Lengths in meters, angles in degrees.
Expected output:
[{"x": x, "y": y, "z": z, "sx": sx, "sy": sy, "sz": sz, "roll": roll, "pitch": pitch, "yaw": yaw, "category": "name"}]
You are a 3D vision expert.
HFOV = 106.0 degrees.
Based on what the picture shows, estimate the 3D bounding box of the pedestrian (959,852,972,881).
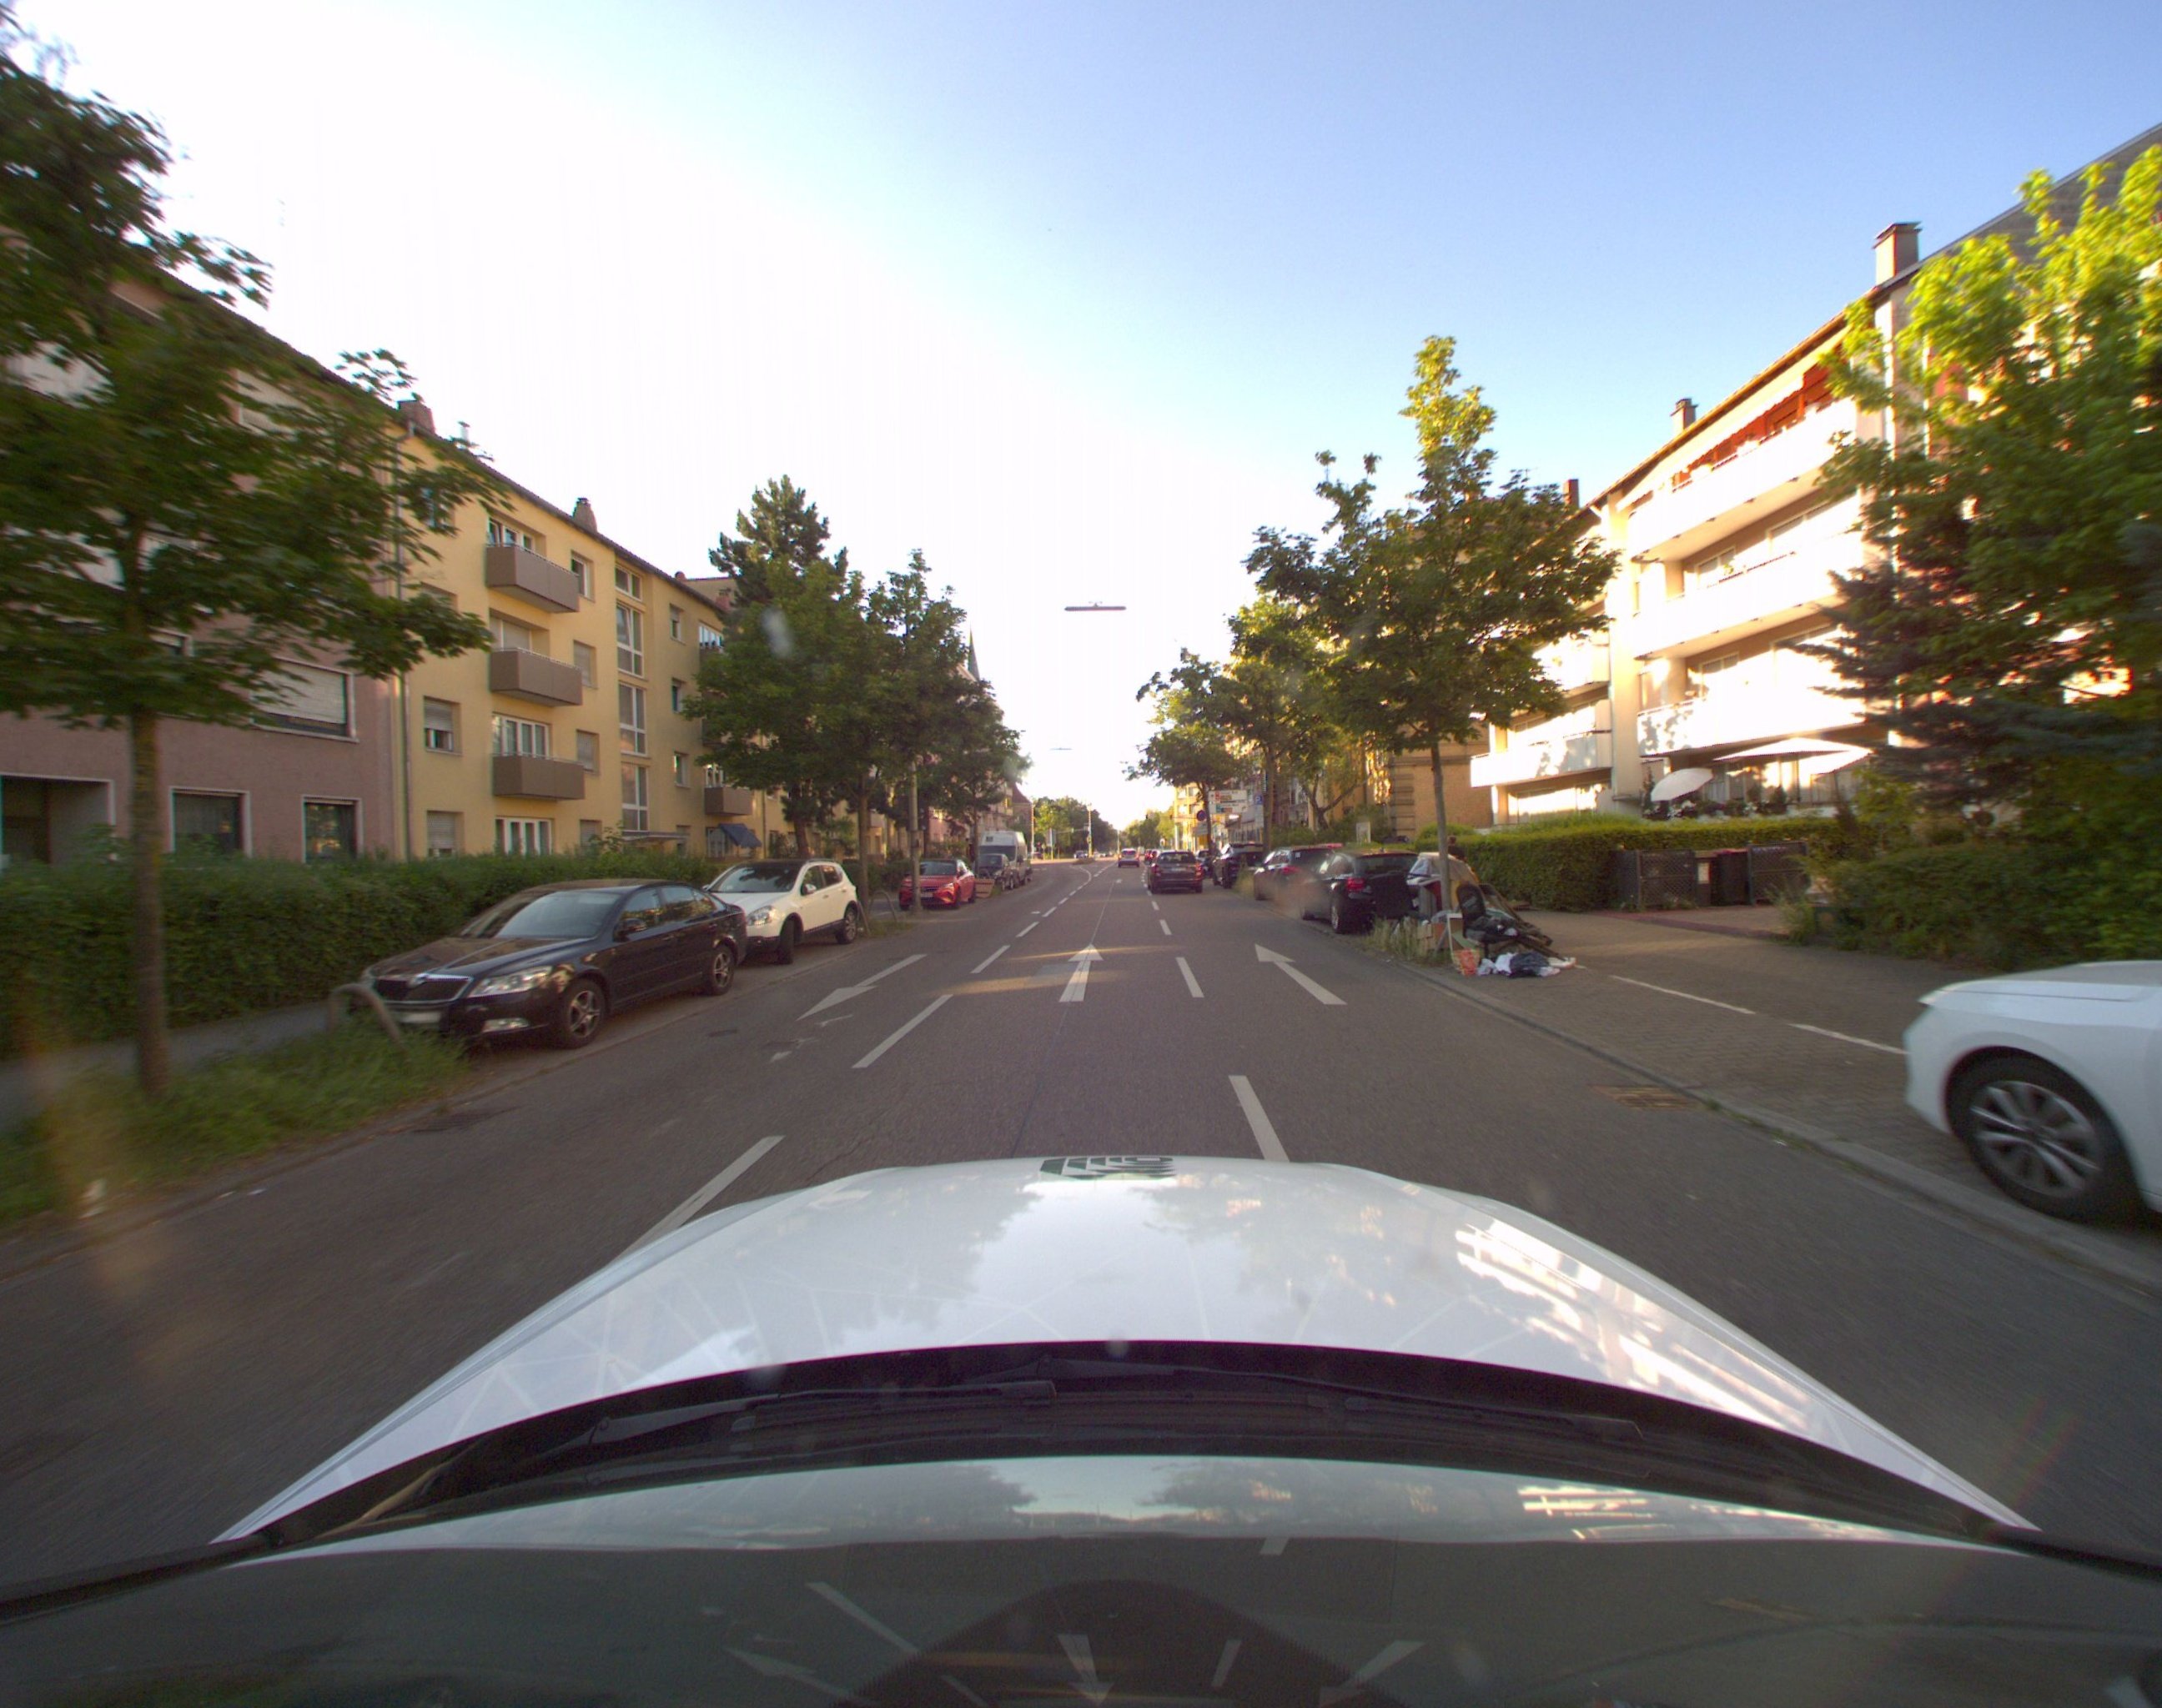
[{"x": -6.815, "y": 0.731, "z": 48.172, "sx": 0.603, "sy": 1.652, "sz": 0.696, "roll": -2, "pitch": 0, "yaw": -3, "category": "pedestrian"}]

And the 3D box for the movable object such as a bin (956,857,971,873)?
[{"x": -7.577, "y": 0.696, "z": 52.494, "sx": 0.864, "sy": 1.050, "sz": 0.770, "roll": 1, "pitch": 0, "yaw": 1, "category": "movable object such as a bin"}]

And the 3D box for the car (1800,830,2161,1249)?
[{"x": 4.561, "y": 0.635, "z": 2.075, "sx": 1.754, "sy": 1.402, "sz": 4.337, "roll": -3, "pitch": 0, "yaw": 3, "category": "car"}]

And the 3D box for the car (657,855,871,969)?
[{"x": -5.156, "y": 0.848, "z": 13.933, "sx": 1.769, "sy": 1.588, "sz": 4.189, "roll": -1, "pitch": 0, "yaw": 3, "category": "car"}]

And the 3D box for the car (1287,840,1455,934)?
[{"x": 5.305, "y": 0.525, "z": 15.565, "sx": 1.763, "sy": 1.448, "sz": 4.488, "roll": -3, "pitch": 0, "yaw": 3, "category": "car"}]

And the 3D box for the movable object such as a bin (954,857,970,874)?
[{"x": -7.562, "y": 0.715, "z": 51.621, "sx": 0.864, "sy": 1.050, "sz": 0.770, "roll": 1, "pitch": 0, "yaw": 1, "category": "movable object such as a bin"}]

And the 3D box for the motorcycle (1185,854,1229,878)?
[{"x": 6.117, "y": 0.565, "z": 39.504, "sx": 1.925, "sy": 1.071, "sz": 0.818, "roll": -2, "pitch": 0, "yaw": -9, "category": "motorcycle"}]

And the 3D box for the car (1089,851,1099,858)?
[{"x": 2.666, "y": 0.133, "z": 168.573, "sx": 1.772, "sy": 1.236, "sz": 4.005, "roll": -2, "pitch": 0, "yaw": 4, "category": "car"}]

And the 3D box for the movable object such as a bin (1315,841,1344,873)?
[{"x": 11.559, "y": 0.121, "z": 37.897, "sx": 1.243, "sy": 1.441, "sz": 0.999, "roll": -2, "pitch": 0, "yaw": 17, "category": "movable object such as a bin"}]

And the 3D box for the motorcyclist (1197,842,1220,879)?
[{"x": 6.161, "y": 0.313, "z": 39.405, "sx": 0.736, "sy": 1.778, "sz": 1.085, "roll": -2, "pitch": -1, "yaw": -8, "category": "motorcyclist"}]

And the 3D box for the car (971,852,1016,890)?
[{"x": -3.638, "y": 0.682, "z": 34.277, "sx": 1.397, "sy": 1.548, "sz": 2.765, "roll": 0, "pitch": 0, "yaw": 5, "category": "car"}]

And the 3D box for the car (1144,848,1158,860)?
[{"x": 8.725, "y": -0.049, "z": 101.686, "sx": 1.578, "sy": 1.446, "sz": 3.651, "roll": 0, "pitch": 0, "yaw": 3, "category": "car"}]

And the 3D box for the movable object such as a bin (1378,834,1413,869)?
[{"x": 14.509, "y": -0.120, "z": 37.574, "sx": 1.153, "sy": 1.555, "sz": 0.992, "roll": -2, "pitch": 0, "yaw": -7, "category": "movable object such as a bin"}]

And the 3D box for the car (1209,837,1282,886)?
[{"x": 6.163, "y": 0.253, "z": 30.977, "sx": 1.940, "sy": 1.655, "sz": 4.799, "roll": -2, "pitch": 0, "yaw": 2, "category": "car"}]

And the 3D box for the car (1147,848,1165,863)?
[{"x": 7.618, "y": 0.126, "z": 82.886, "sx": 1.643, "sy": 1.484, "sz": 4.243, "roll": -1, "pitch": 0, "yaw": 3, "category": "car"}]

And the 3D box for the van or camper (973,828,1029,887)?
[{"x": -3.746, "y": 0.139, "z": 39.265, "sx": 2.028, "sy": 2.663, "sz": 6.016, "roll": 0, "pitch": 0, "yaw": 1, "category": "van or camper"}]

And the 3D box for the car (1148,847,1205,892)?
[{"x": 3.252, "y": 0.483, "z": 28.351, "sx": 1.700, "sy": 1.457, "sz": 4.162, "roll": -1, "pitch": 0, "yaw": 3, "category": "car"}]

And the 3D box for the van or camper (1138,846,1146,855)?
[{"x": 18.545, "y": -1.064, "z": 247.484, "sx": 1.984, "sy": 2.640, "sz": 5.358, "roll": -2, "pitch": 0, "yaw": 5, "category": "van or camper"}]

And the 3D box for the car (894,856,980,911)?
[{"x": -4.308, "y": 0.830, "z": 24.884, "sx": 1.710, "sy": 1.451, "sz": 3.926, "roll": -1, "pitch": 1, "yaw": 3, "category": "car"}]

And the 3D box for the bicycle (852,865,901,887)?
[{"x": -8.791, "y": 0.938, "z": 35.030, "sx": 1.927, "sy": 0.925, "sz": 0.583, "roll": 0, "pitch": 0, "yaw": 4, "category": "bicycle"}]

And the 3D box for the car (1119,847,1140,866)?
[{"x": 4.048, "y": 0.153, "z": 68.009, "sx": 1.700, "sy": 1.510, "sz": 4.313, "roll": -1, "pitch": 0, "yaw": 3, "category": "car"}]

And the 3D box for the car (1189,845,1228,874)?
[{"x": 7.334, "y": 0.296, "z": 47.187, "sx": 1.847, "sy": 1.512, "sz": 4.841, "roll": -3, "pitch": 0, "yaw": 5, "category": "car"}]

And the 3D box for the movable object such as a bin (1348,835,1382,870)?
[{"x": 13.184, "y": -0.054, "z": 37.808, "sx": 1.153, "sy": 1.555, "sz": 0.992, "roll": -2, "pitch": 0, "yaw": -7, "category": "movable object such as a bin"}]

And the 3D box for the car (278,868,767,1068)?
[{"x": -5.358, "y": 0.957, "z": 8.768, "sx": 1.985, "sy": 1.448, "sz": 4.461, "roll": -2, "pitch": 0, "yaw": 3, "category": "car"}]

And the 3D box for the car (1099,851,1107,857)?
[{"x": 5.548, "y": -0.033, "z": 205.564, "sx": 1.772, "sy": 1.236, "sz": 4.005, "roll": -2, "pitch": 0, "yaw": 4, "category": "car"}]

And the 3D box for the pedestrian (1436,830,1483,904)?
[{"x": 8.504, "y": 0.283, "z": 18.324, "sx": 0.743, "sy": 1.616, "sz": 0.580, "roll": -2, "pitch": 0, "yaw": 1, "category": "pedestrian"}]

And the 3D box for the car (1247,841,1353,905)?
[{"x": 5.776, "y": 0.440, "z": 22.016, "sx": 1.710, "sy": 1.472, "sz": 4.433, "roll": -3, "pitch": 0, "yaw": 1, "category": "car"}]

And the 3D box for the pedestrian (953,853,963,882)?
[{"x": -7.148, "y": 0.753, "z": 47.341, "sx": 0.479, "sy": 1.652, "sz": 0.724, "roll": -2, "pitch": 0, "yaw": -3, "category": "pedestrian"}]
